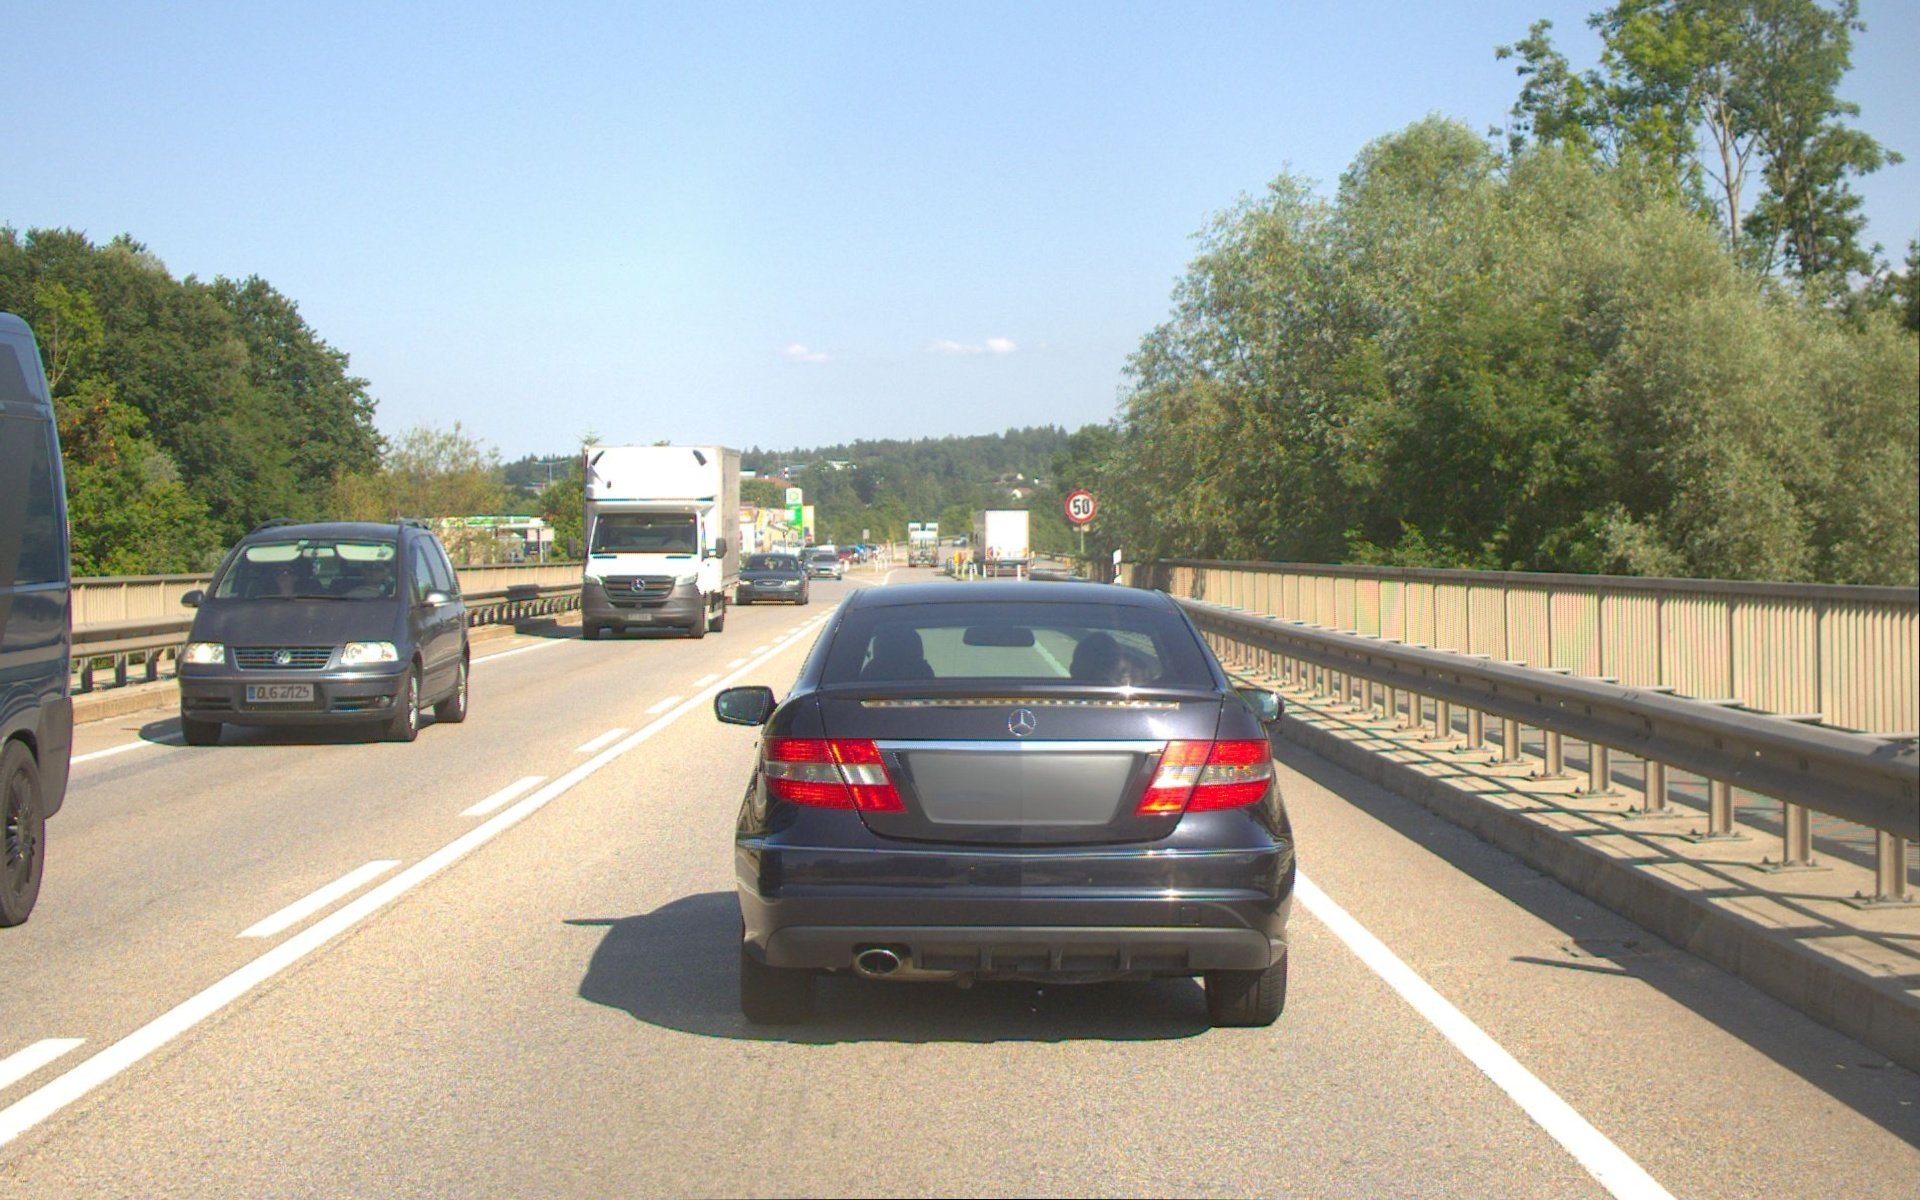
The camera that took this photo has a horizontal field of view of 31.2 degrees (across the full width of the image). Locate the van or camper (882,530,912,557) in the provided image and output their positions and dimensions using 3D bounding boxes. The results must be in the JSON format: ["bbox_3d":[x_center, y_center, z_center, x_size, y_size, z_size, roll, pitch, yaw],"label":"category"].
[{"bbox_3d":[-4.747,-4.269,258.723,1.994,2.007,4.000,0,1,2],"label":"van or camper"}]

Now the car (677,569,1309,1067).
[{"bbox_3d":[0.119,0.601,11.775,1.793,1.371,4.000,0,1,1],"label":"car"}]

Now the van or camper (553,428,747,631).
[{"bbox_3d":[-5.204,-1.208,58.906,2.635,3.244,7.750,0,1,0],"label":"van or camper"}]

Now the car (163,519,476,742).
[{"bbox_3d":[-5.027,0.182,27.553,1.841,1.636,4.578,0,1,-3],"label":"car"}]

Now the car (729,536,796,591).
[{"bbox_3d":[-5.267,-0.988,91.996,1.659,1.431,4.188,0,1,-2],"label":"car"}]

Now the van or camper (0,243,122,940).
[{"bbox_3d":[-4.849,-0.005,11.614,2.430,2.633,6.405,0,1,0],"label":"van or camper"}]

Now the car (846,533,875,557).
[{"bbox_3d":[-6.701,-3.736,231.741,1.804,1.601,3.915,0,1,1],"label":"car"}]

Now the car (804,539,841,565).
[{"bbox_3d":[-7.117,-2.508,178.190,1.701,1.351,3.736,0,1,0],"label":"car"}]
